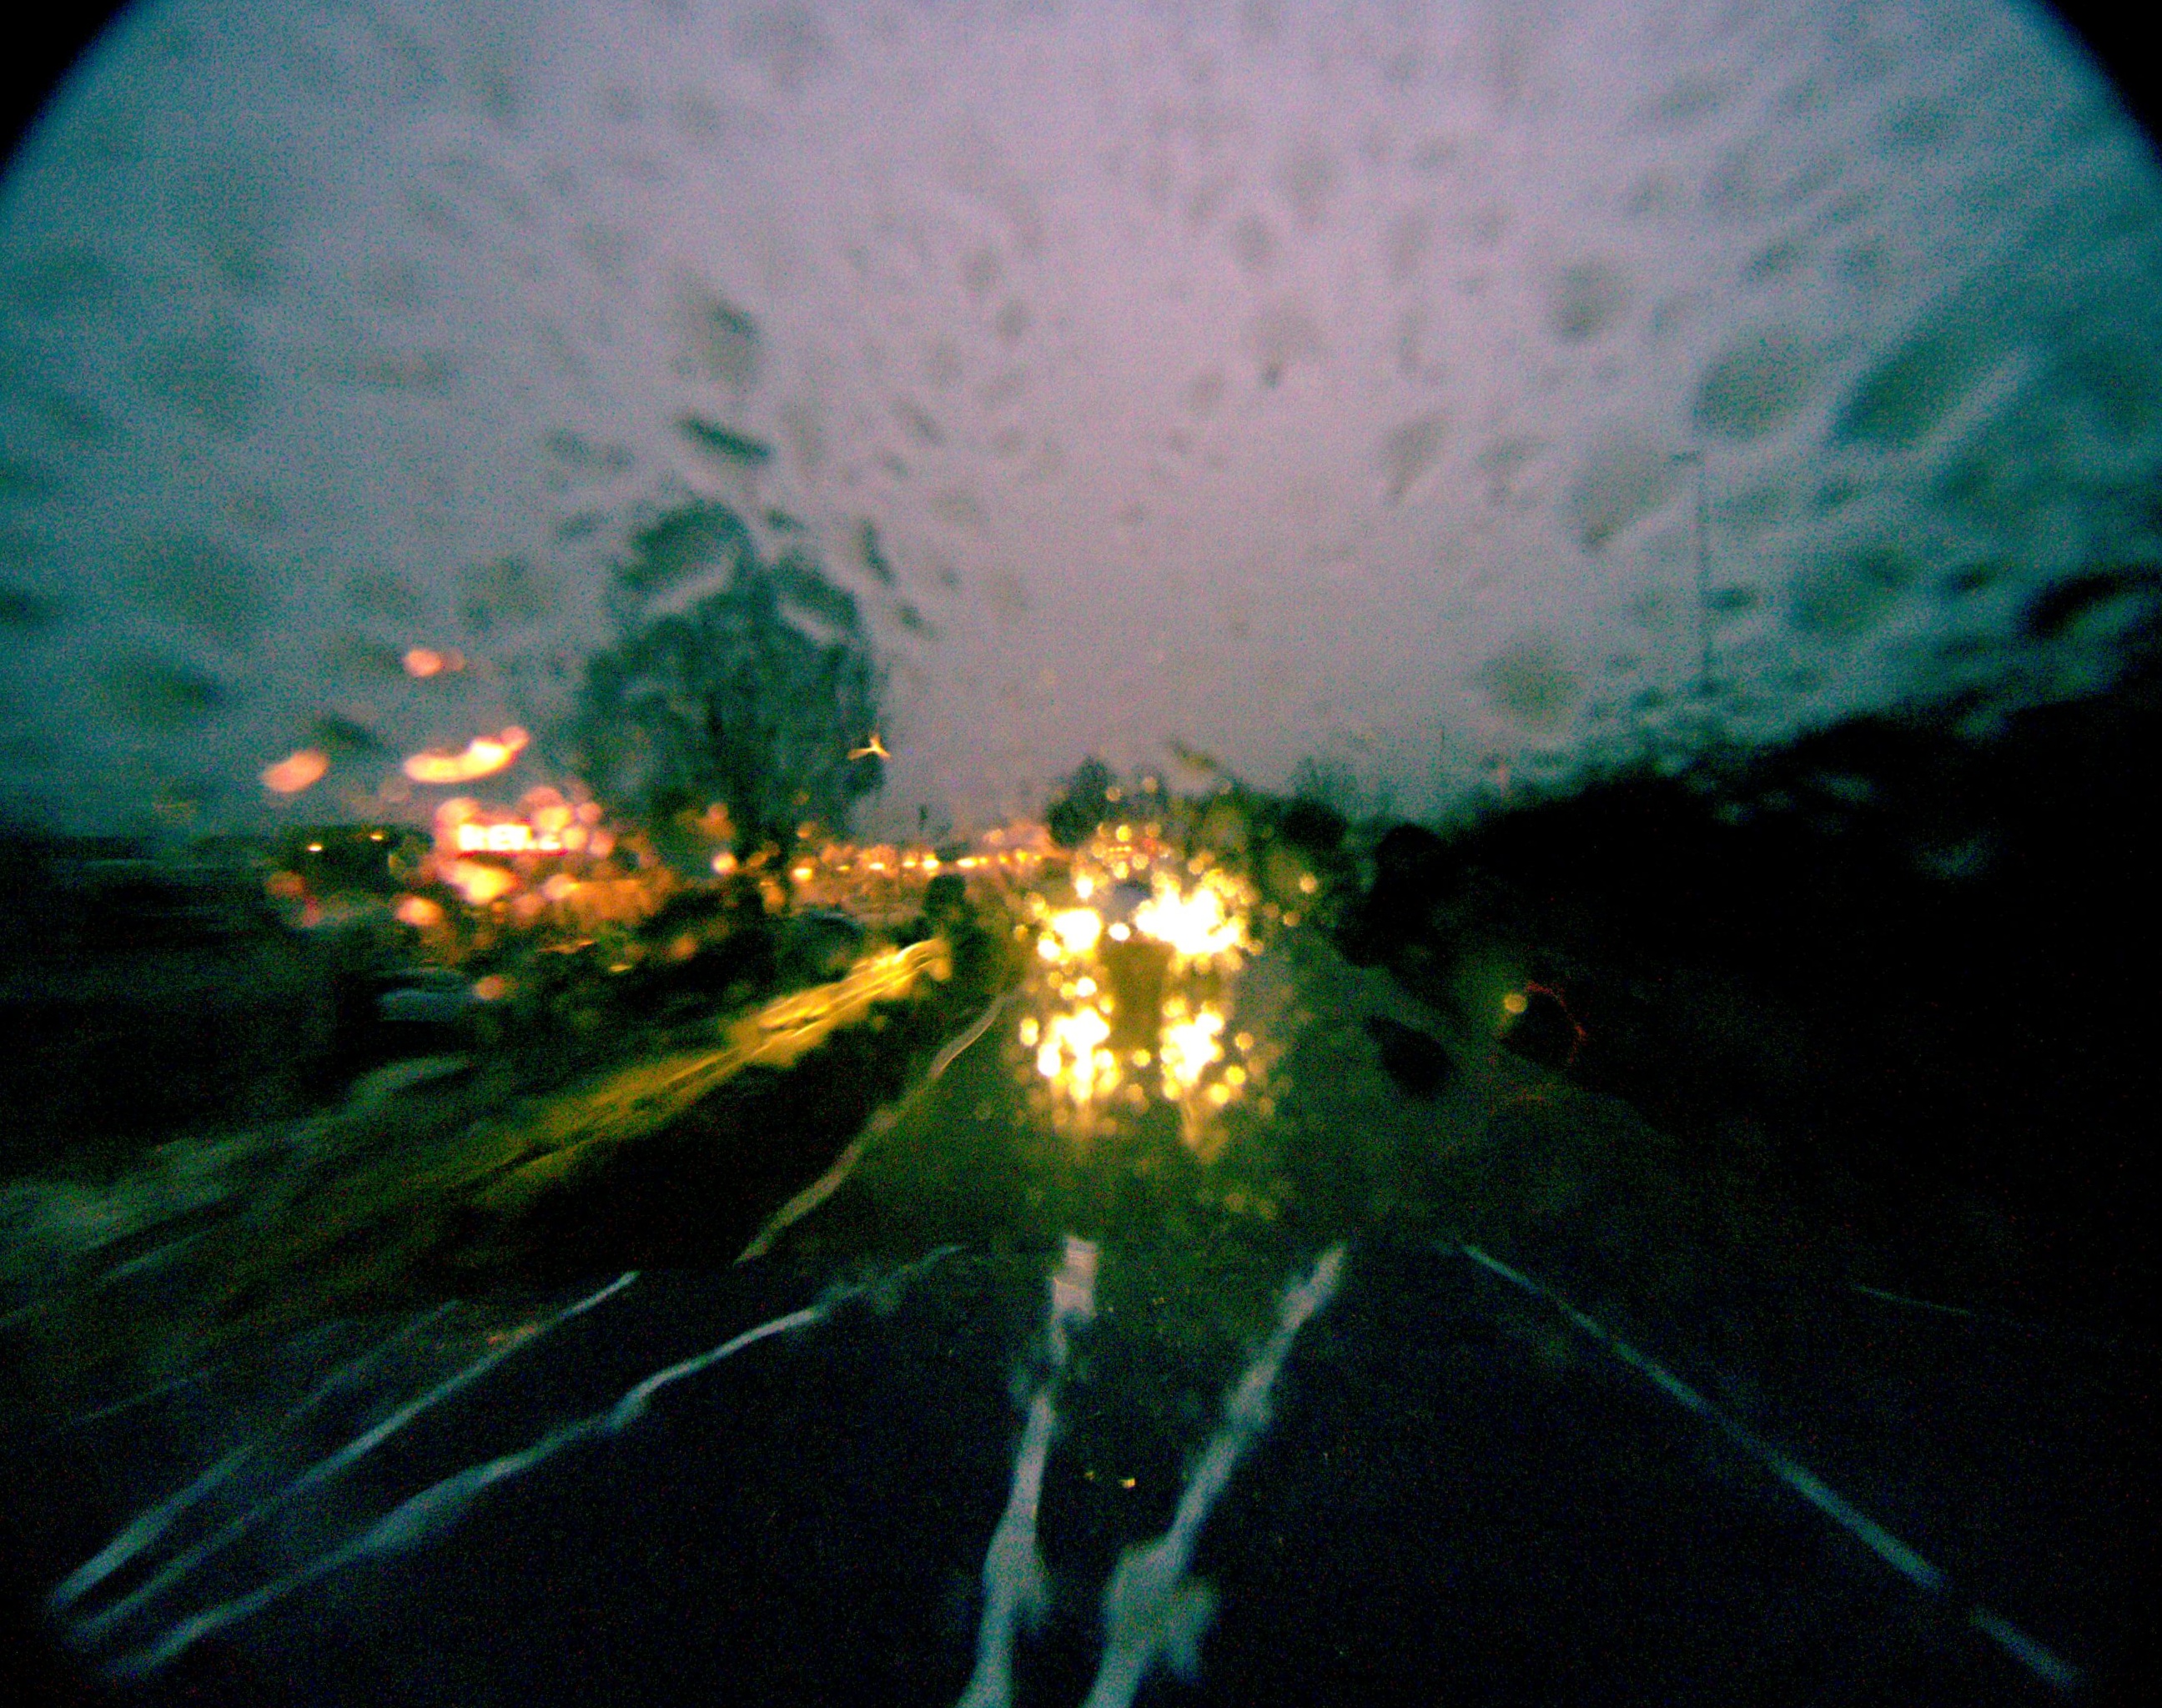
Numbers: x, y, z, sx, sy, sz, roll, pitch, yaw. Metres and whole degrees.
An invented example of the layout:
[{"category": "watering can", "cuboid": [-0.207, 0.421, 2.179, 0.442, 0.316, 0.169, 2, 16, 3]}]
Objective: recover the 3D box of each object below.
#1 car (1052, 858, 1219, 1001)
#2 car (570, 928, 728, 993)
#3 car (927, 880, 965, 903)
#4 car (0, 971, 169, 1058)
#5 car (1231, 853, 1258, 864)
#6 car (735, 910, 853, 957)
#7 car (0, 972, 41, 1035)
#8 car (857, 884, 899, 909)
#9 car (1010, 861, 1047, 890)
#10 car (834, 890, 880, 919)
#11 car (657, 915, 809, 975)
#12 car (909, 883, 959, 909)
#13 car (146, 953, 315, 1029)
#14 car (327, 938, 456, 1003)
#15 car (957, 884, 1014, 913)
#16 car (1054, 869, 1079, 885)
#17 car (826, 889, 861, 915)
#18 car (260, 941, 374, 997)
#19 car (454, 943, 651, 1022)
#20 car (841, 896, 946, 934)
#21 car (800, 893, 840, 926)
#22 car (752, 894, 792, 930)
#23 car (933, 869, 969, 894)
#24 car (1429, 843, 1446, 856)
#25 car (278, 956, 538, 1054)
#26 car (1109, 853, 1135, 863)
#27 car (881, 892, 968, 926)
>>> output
[{"category": "car", "cuboid": [0.802, 0.892, 10.852, 1.809, 1.452, 4.247, -4, 0, 5]}, {"category": "car", "cuboid": [-13.064, 3.191, 23.266, 4.004, 1.412, 1.628, -2, 1, -25]}, {"category": "car", "cuboid": [-10.265, 2.804, 57.558, 1.722, 1.508, 3.251, -4, 1, -31]}, {"category": "car", "cuboid": [-25.508, 3.966, 18.988, 1.570, 1.421, 3.756, -2, 0, -16]}, {"category": "car", "cuboid": [25.517, 0.684, 118.756, 4.006, 1.588, 1.808, -1, 1, 17]}, {"category": "car", "cuboid": [-11.325, 3.119, 30.162, 4.184, 1.389, 1.901, -2, 1, -21]}, {"category": "car", "cuboid": [-29.405, 4.104, 19.643, 1.571, 1.476, 3.752, -3, 0, -31]}, {"category": "car", "cuboid": [-14.982, 3.086, 55.830, 1.804, 1.586, 3.970, -2, 0, -33]}, {"category": "car", "cuboid": [-4.932, 1.965, 70.933, 2.282, 2.426, 5.232, -2, 1, -16]}, {"category": "car", "cuboid": [-14.130, 3.109, 47.714, 1.829, 1.629, 4.461, -3, -1, -28]}, {"category": "car", "cuboid": [-12.120, 3.106, 26.660, 4.593, 1.447, 1.927, -3, 1, -25]}, {"category": "car", "cuboid": [-10.319, 2.904, 53.282, 3.260, 1.526, 1.390, -4, 0, -18]}, {"category": "car", "cuboid": [-23.918, 3.784, 21.569, 1.570, 1.421, 3.755, -2, 0, -20]}, {"category": "car", "cuboid": [-22.793, 3.783, 25.334, 1.748, 1.416, 4.308, -2, 0, -22]}, {"category": "car", "cuboid": [-5.635, 2.624, 45.326, 1.769, 1.421, 3.816, -2, 1, 21]}, {"category": "car", "cuboid": [-1.469, 2.315, 76.631, 1.715, 1.404, 4.009, -2, 1, -13]}, {"category": "car", "cuboid": [-16.433, 3.289, 52.440, 1.729, 1.493, 4.018, -2, 0, -25]}, {"category": "car", "cuboid": [-26.672, 3.952, 26.685, 1.571, 1.344, 3.831, -3, 0, -25]}, {"category": "car", "cuboid": [-13.785, 3.325, 20.116, 4.004, 1.412, 1.628, -2, 1, -25]}, {"category": "car", "cuboid": [-9.049, 2.904, 36.640, 4.708, 1.389, 1.901, -2, 1, -18]}, {"category": "car", "cuboid": [-15.108, 3.174, 43.803, 1.808, 1.526, 4.535, -3, 0, -23]}, {"category": "car", "cuboid": [-16.585, 3.079, 40.887, 1.600, 1.576, 3.627, -3, 0, -17]}, {"category": "car", "cuboid": [-11.291, 2.323, 65.766, 1.889, 1.946, 4.952, -4, 0, -22]}, {"category": "car", "cuboid": [47.901, -0.568, 102.196, 1.696, 1.569, 3.889, -2, 1, 21]}, {"category": "car", "cuboid": [-14.973, 3.311, 17.221, 4.004, 1.431, 1.793, -2, 1, -25]}, {"category": "car", "cuboid": [7.016, 0.668, 130.858, 4.005, 1.588, 1.809, -1, 1, 20]}, {"category": "car", "cuboid": [-8.141, 2.824, 39.425, 4.183, 1.389, 1.848, -2, 1, -18]}]
